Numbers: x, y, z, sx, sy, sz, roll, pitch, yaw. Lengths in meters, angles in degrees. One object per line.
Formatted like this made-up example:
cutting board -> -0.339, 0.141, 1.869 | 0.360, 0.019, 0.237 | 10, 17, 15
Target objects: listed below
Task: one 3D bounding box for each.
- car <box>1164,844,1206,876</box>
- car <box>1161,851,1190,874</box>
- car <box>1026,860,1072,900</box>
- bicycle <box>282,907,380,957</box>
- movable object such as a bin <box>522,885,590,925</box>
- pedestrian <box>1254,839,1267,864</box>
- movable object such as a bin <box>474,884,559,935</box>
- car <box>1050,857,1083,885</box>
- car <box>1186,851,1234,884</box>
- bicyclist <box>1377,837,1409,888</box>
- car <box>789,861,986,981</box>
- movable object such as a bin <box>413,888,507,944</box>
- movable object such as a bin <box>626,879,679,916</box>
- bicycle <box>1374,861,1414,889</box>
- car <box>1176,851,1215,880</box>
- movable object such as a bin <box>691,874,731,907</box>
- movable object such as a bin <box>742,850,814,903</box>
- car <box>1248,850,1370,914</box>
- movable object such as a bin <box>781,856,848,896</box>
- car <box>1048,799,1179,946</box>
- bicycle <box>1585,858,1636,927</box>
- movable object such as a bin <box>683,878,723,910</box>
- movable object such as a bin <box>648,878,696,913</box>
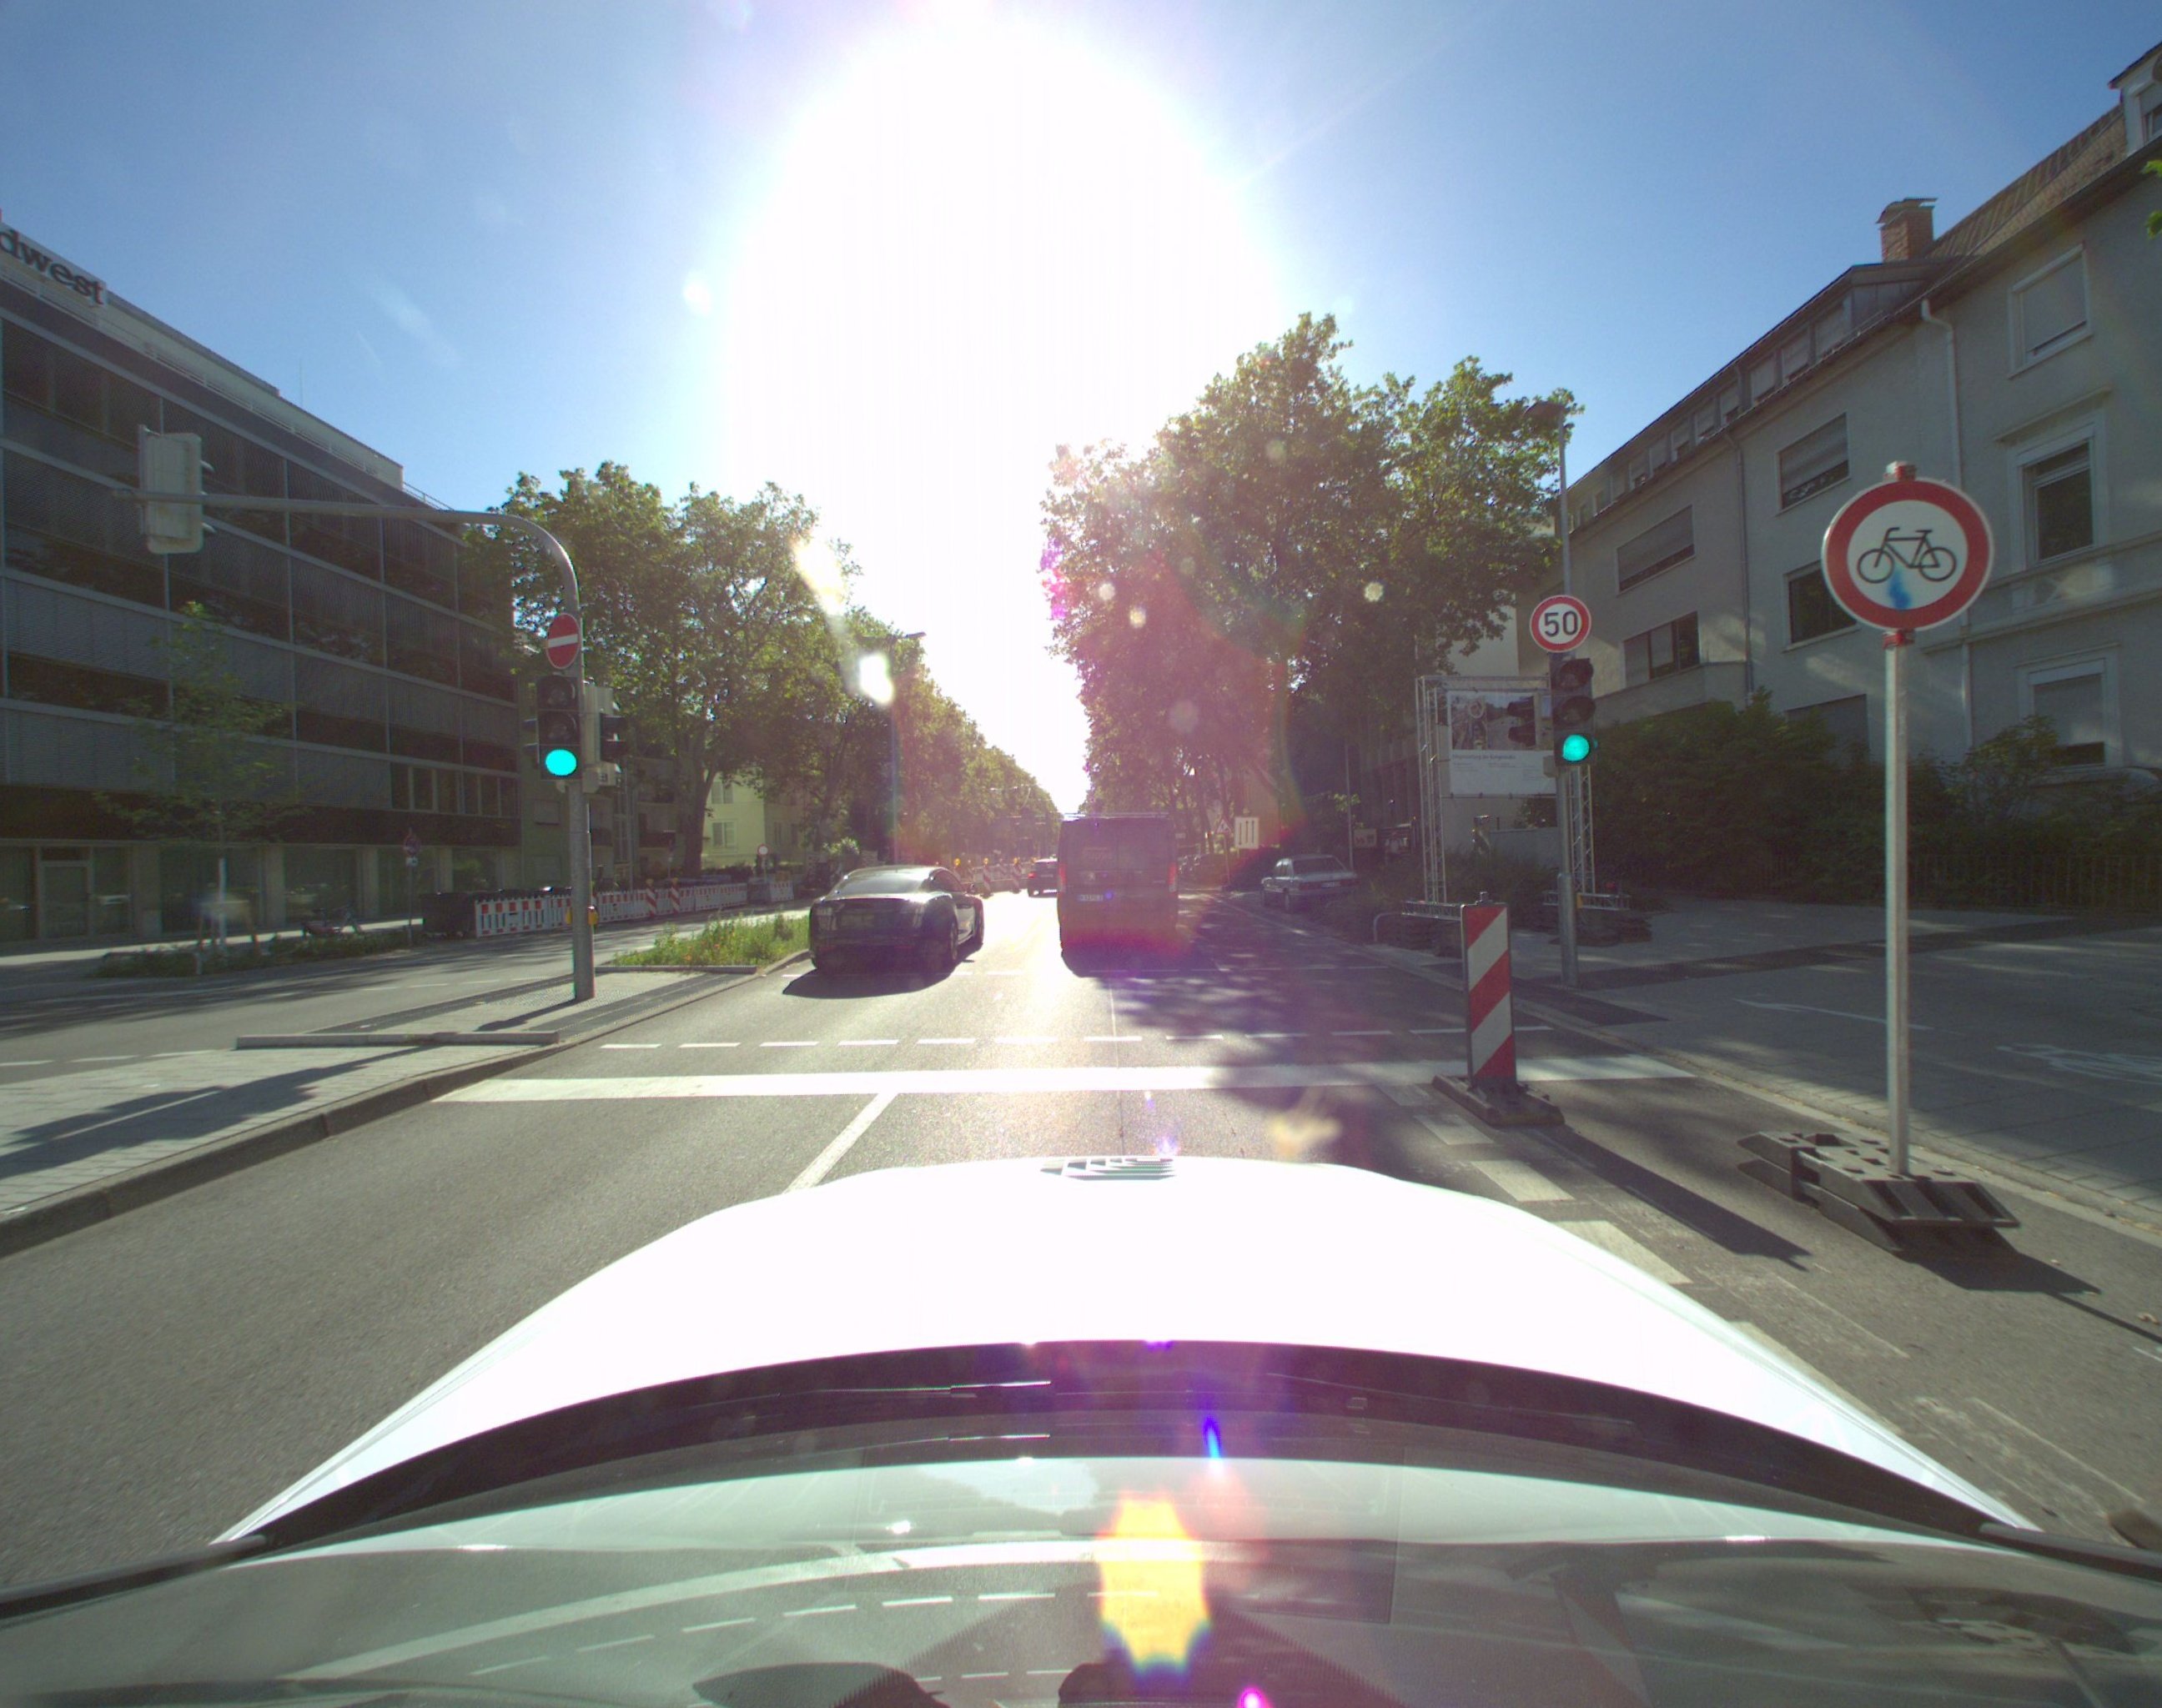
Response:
car -> 6.695, 0.371, 52.957 | 2.019, 1.946, 5.273 | -2, 0, 0
car -> 6.767, 0.604, 58.703 | 1.741, 1.477, 4.104 | -3, 0, 3
car -> -1.270, 1.017, 33.398 | 1.741, 1.407, 3.999 | -1, 1, -1
bicycle -> -18.541, 1.904, 20.188 | 0.624, 1.037, 1.880 | -2, 0, 2
movable object such as a bin -> -17.252, 1.659, 26.796 | 1.388, 1.203, 1.242 | -2, 0, 3
pedestrian -> 12.329, -0.172, 56.076 | 0.704, 1.648, 0.675 | 0, 2, -2
movable object such as a bin -> -17.320, 1.676, 25.058 | 1.210, 1.388, 1.857 | -2, 0, 3
car -> -0.793, 0.918, 45.537 | 1.541, 1.425, 3.558 | -2, -1, 3
car -> 6.471, 0.649, 41.275 | 1.757, 1.508, 4.251 | -2, 0, 1
bicyclist -> 11.292, 0.303, 29.480 | 0.721, 1.820, 1.071 | -2, 0, 2
car -> -2.782, 0.889, 12.882 | 1.919, 1.412, 4.626 | -2, 0, 0
movable object such as a bin -> -17.264, 1.701, 22.721 | 1.109, 1.388, 1.857 | -2, 0, 3
movable object such as a bin -> -16.845, 1.710, 32.064 | 1.404, 1.338, 1.157 | -2, 0, 3
bicycle -> 11.345, 0.747, 29.583 | 0.779, 0.966, 1.824 | -2, 0, 3
car -> 6.467, 0.649, 46.266 | 1.652, 1.540, 4.129 | -1, 0, 1
movable object such as a bin -> -16.940, 1.648, 37.310 | 1.638, 1.423, 1.252 | -2, 0, -25
movable object such as a bin -> -16.840, 1.191, 45.607 | 2.141, 2.706, 5.350 | -2, 0, -2
car -> 5.998, 0.676, 22.048 | 1.846, 1.479, 4.940 | -2, 0, -1
movable object such as a bin -> -16.840, 1.322, 51.789 | 1.985, 2.278, 5.604 | -3, 0, 3
car -> 0.608, 0.286, 15.228 | 2.087, 2.355, 3.935 | -1, 0, 2
bicycle -> 8.681, 0.590, 13.319 | 0.581, 1.005, 2.145 | -2, 0, 35
movable object such as a bin -> -16.454, 1.740, 35.485 | 0.976, 1.271, 1.540 | -2, 0, 1
movable object such as a bin -> -16.636, 1.694, 33.150 | 1.404, 1.338, 0.936 | -2, 0, 3
